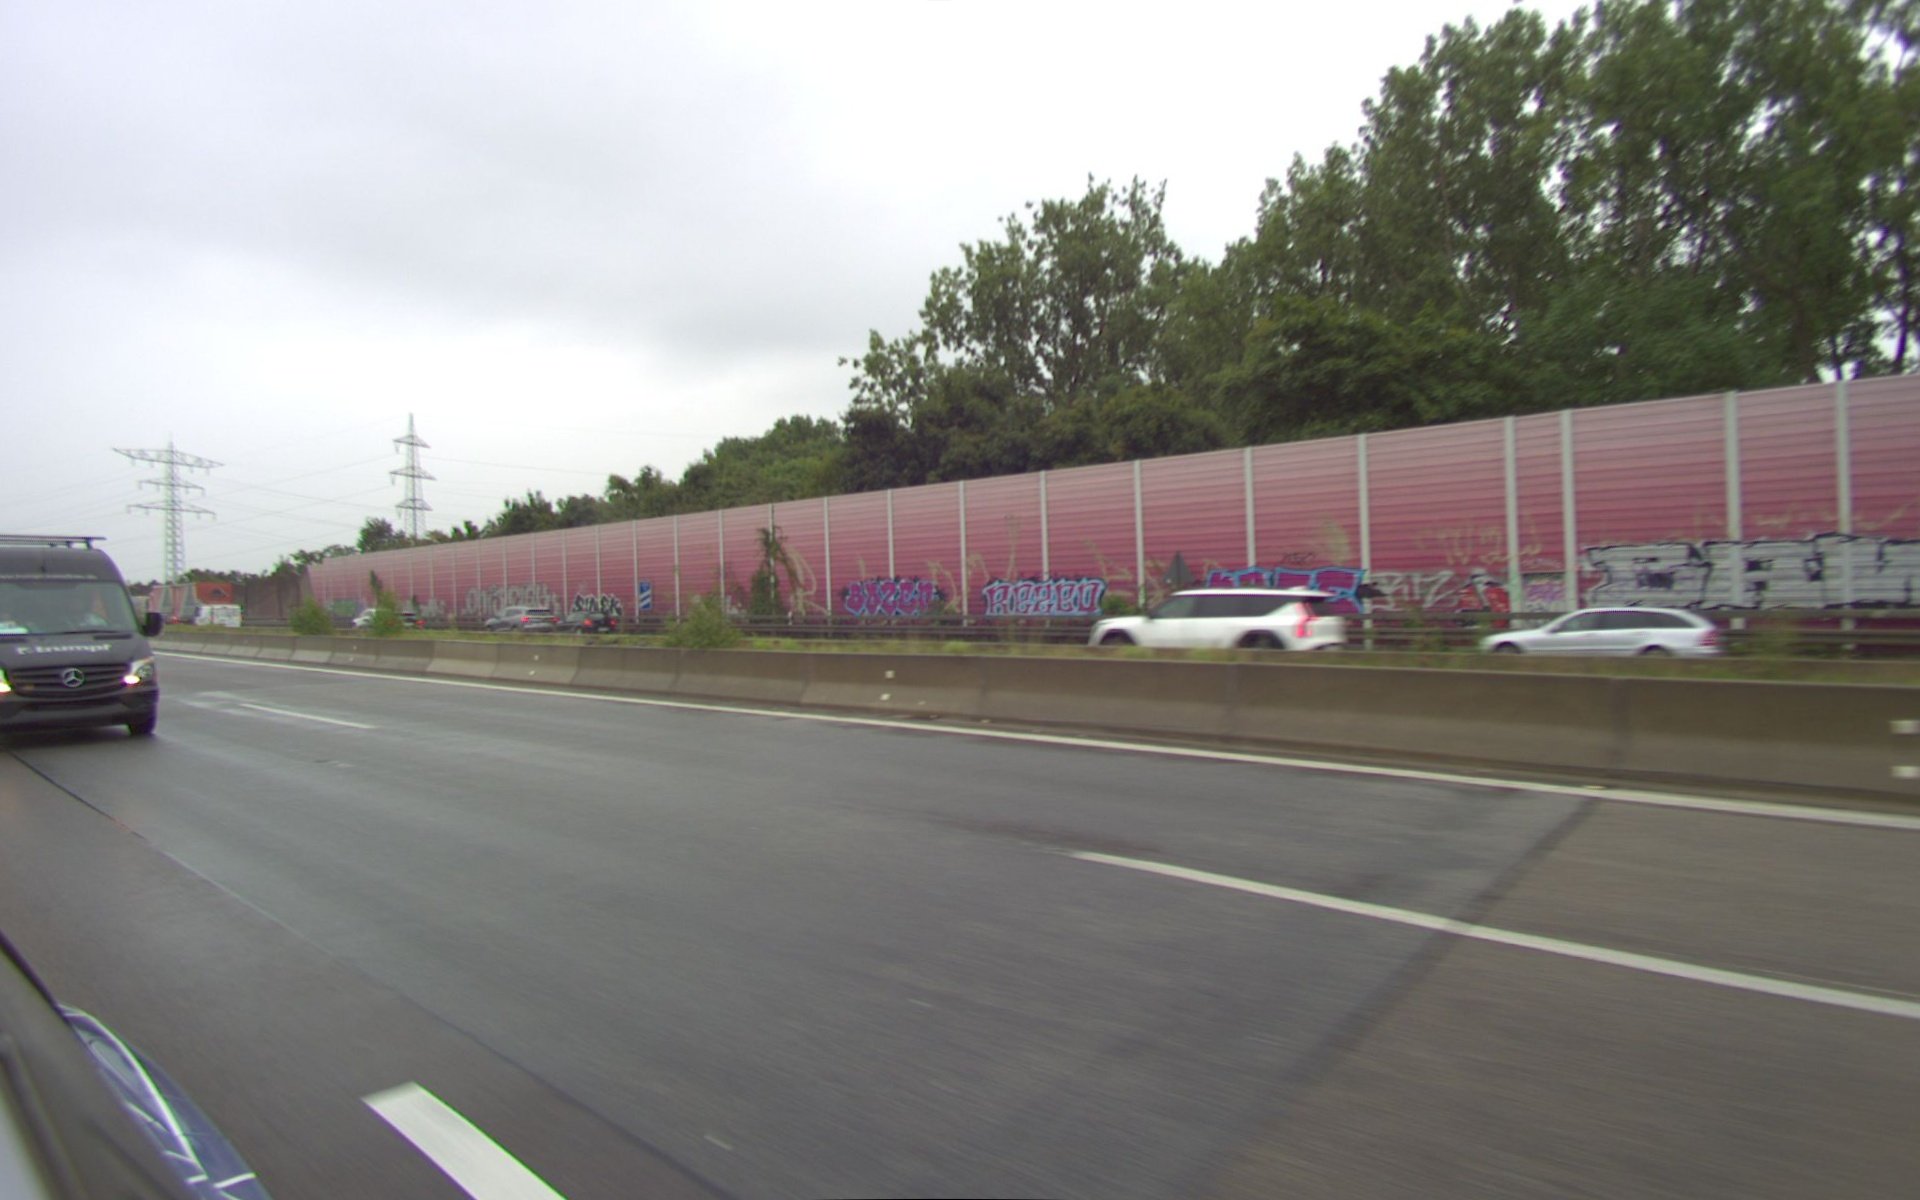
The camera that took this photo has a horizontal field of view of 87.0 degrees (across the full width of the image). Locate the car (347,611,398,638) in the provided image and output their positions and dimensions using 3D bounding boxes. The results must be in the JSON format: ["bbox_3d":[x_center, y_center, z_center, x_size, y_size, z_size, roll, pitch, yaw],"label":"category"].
[{"bbox_3d":[-40.662,1.697,69.986,3.913,1.663,1.721,-2,5,41],"label":"car"}]

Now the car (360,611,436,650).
[{"bbox_3d":[-26.866,1.443,48.349,3.998,1.737,1.973,-2,-1,41],"label":"car"}]

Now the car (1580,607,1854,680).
[{"bbox_3d":[15.179,0.832,20.473,4.275,1.304,1.840,-2,-1,40],"label":"car"}]

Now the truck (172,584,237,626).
[{"bbox_3d":[-66.605,0.470,89.149,8.489,3.517,2.752,-1,1,41],"label":"truck"}]

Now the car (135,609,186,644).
[{"bbox_3d":[-52.707,1.738,66.700,3.649,2.028,1.846,-2,5,41],"label":"car"}]

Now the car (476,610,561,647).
[{"bbox_3d":[-20.951,1.337,47.940,4.536,1.660,1.973,-2,-1,41],"label":"car"}]

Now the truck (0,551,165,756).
[{"bbox_3d":[-13.068,0.632,14.003,6.105,2.355,1.974,-1,1,40],"label":"truck"}]

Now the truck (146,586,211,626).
[{"bbox_3d":[-73.835,0.620,95.472,10.612,3.517,2.752,-1,1,41],"label":"truck"}]

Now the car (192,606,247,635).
[{"bbox_3d":[-51.397,1.433,70.222,4.440,1.768,2.007,-2,5,41],"label":"car"}]

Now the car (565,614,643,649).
[{"bbox_3d":[-17.780,1.544,50.439,3.998,1.660,1.973,-2,-1,41],"label":"car"}]

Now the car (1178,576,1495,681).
[{"bbox_3d":[6.715,0.496,18.446,5.041,1.660,1.973,-2,-1,40],"label":"car"}]

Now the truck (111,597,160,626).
[{"bbox_3d":[-99.772,1.385,122.408,9.373,3.272,2.911,-1,2,41],"label":"truck"}]
